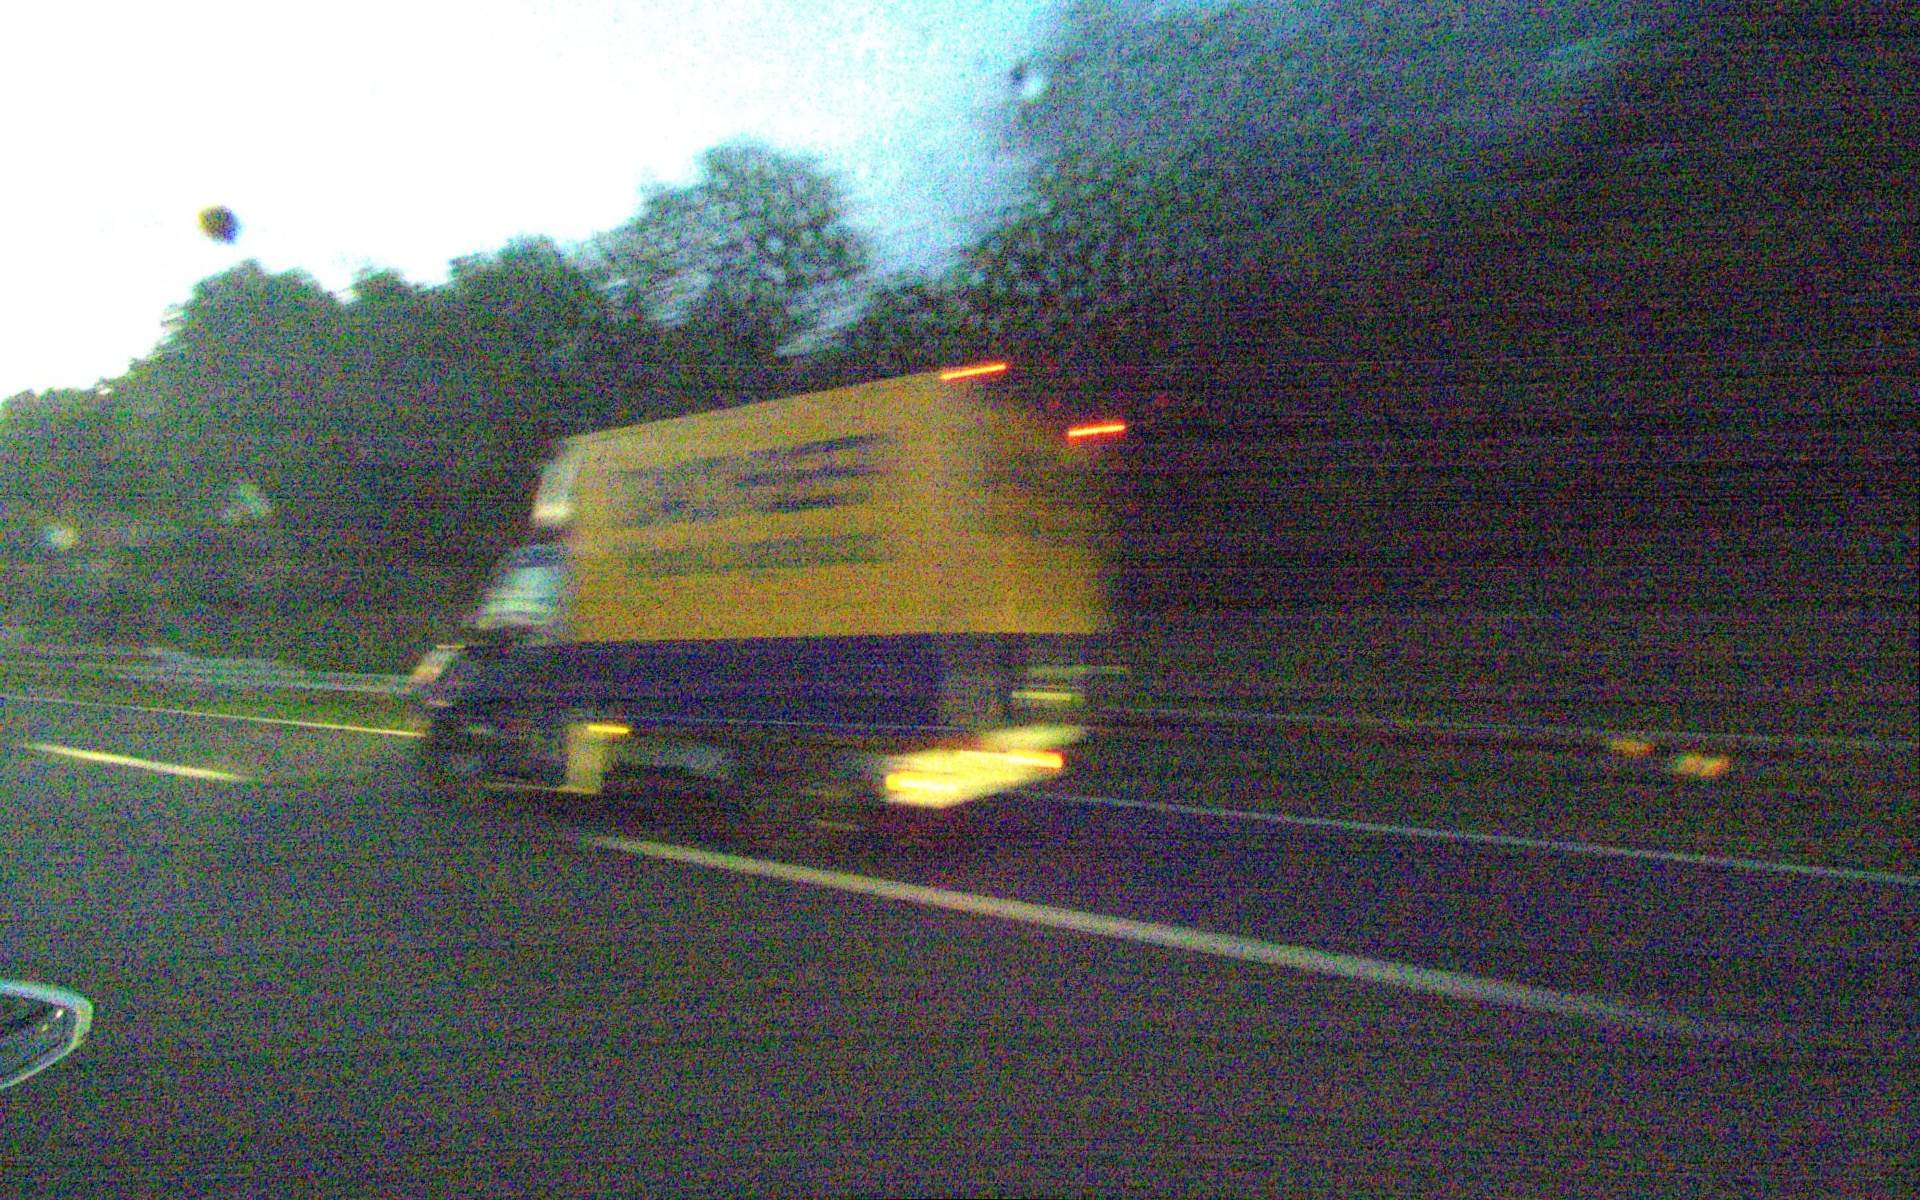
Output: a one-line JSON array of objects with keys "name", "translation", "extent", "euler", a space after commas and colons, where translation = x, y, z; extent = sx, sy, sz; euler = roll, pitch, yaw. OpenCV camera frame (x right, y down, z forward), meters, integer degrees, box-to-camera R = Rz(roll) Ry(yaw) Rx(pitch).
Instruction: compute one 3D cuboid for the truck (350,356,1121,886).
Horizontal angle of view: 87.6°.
[{"name": "truck", "translation": [-2.139, 0.190, 8.364], "extent": [6.534, 3.009, 2.266], "euler": [-1, -2, 31]}]
